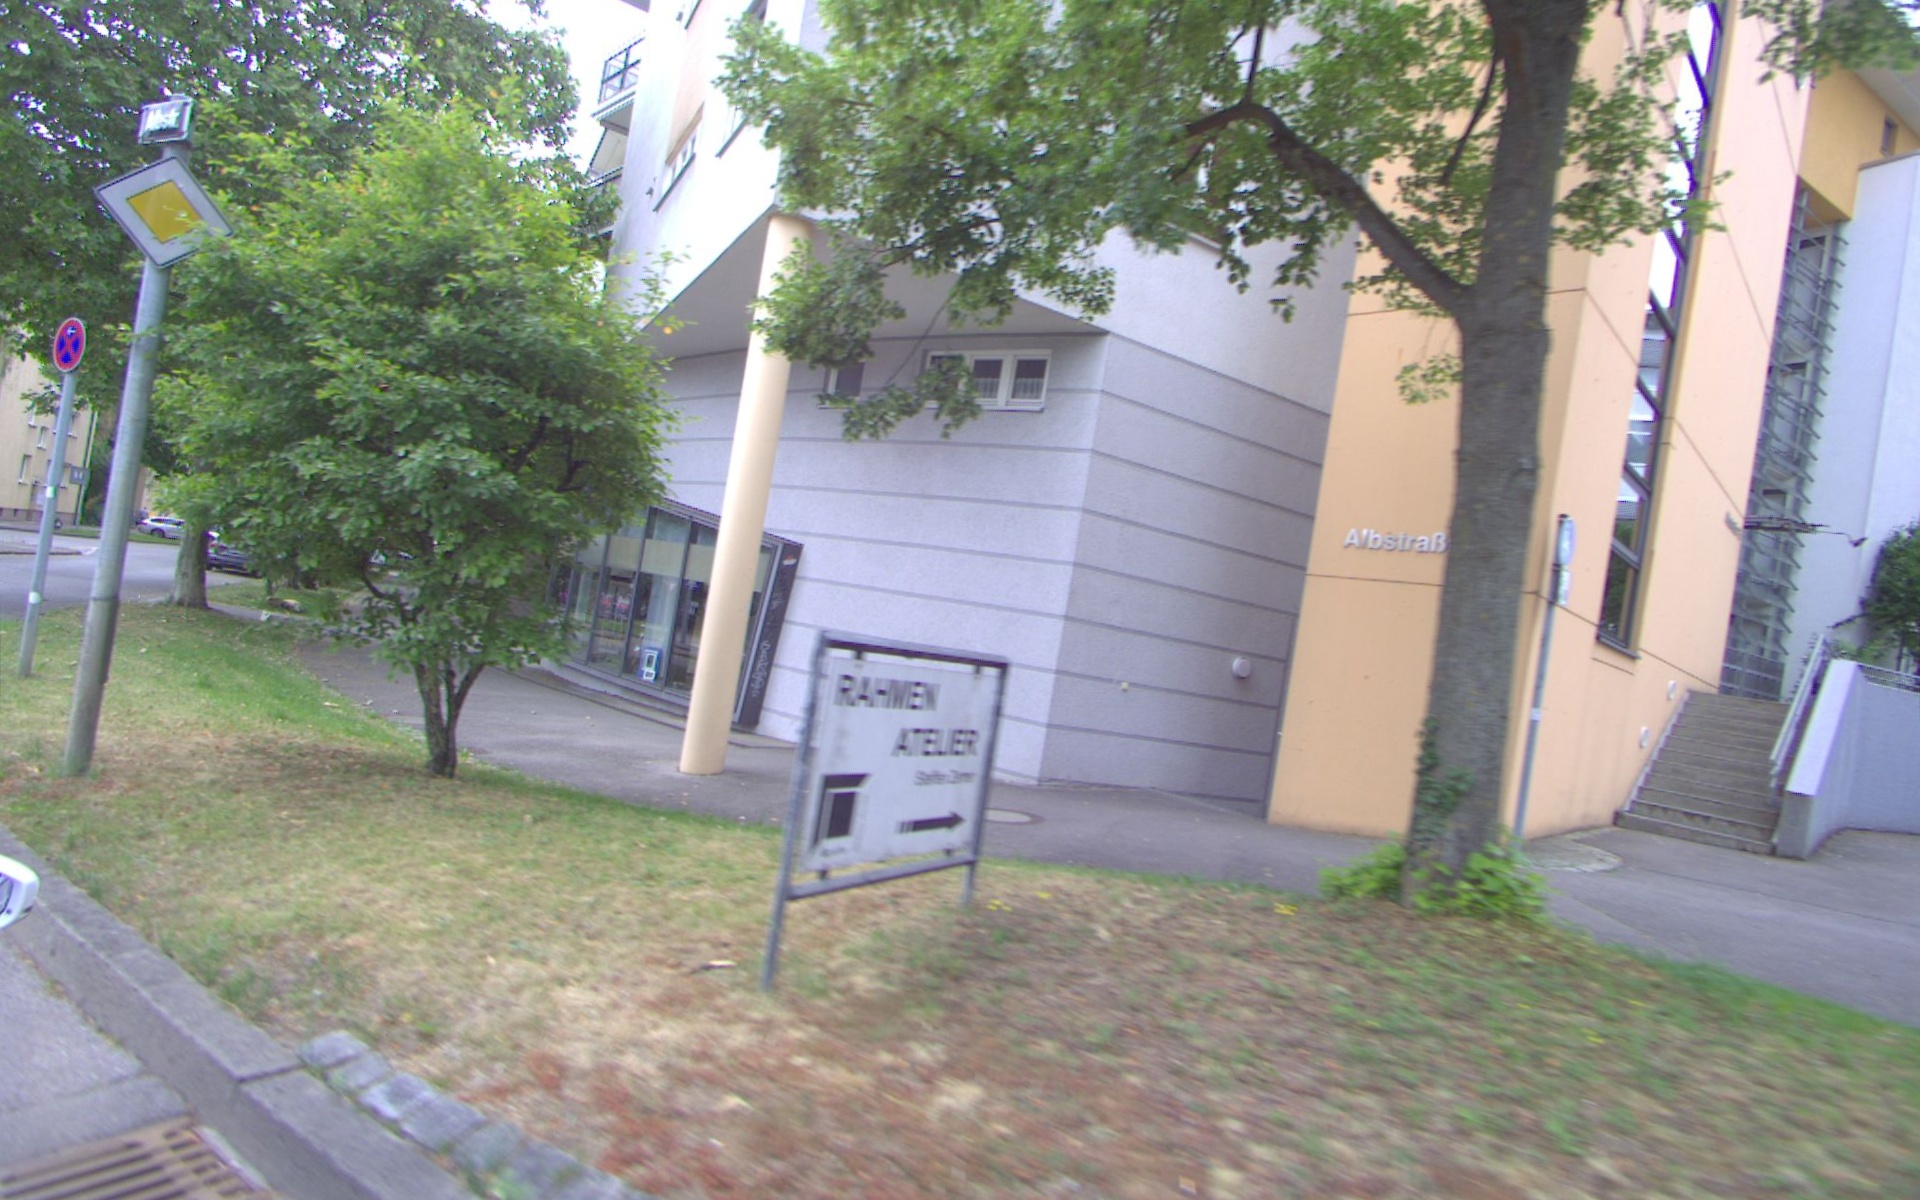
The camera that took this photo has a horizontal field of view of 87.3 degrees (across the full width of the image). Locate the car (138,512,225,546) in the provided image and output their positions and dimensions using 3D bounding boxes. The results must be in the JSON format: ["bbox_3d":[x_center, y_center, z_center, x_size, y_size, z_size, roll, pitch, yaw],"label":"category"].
[{"bbox_3d":[-50.958,-4.629,65.929,4.164,1.595,1.803,7,-1,-31],"label":"car"}]

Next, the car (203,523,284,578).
[{"bbox_3d":[-26.951,-1.825,37.975,1.864,1.584,3.989,13,-5,-30],"label":"car"}]

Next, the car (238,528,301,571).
[{"bbox_3d":[-32.507,-2.346,47.475,1.767,1.614,4.219,12,-4,-28],"label":"car"}]
